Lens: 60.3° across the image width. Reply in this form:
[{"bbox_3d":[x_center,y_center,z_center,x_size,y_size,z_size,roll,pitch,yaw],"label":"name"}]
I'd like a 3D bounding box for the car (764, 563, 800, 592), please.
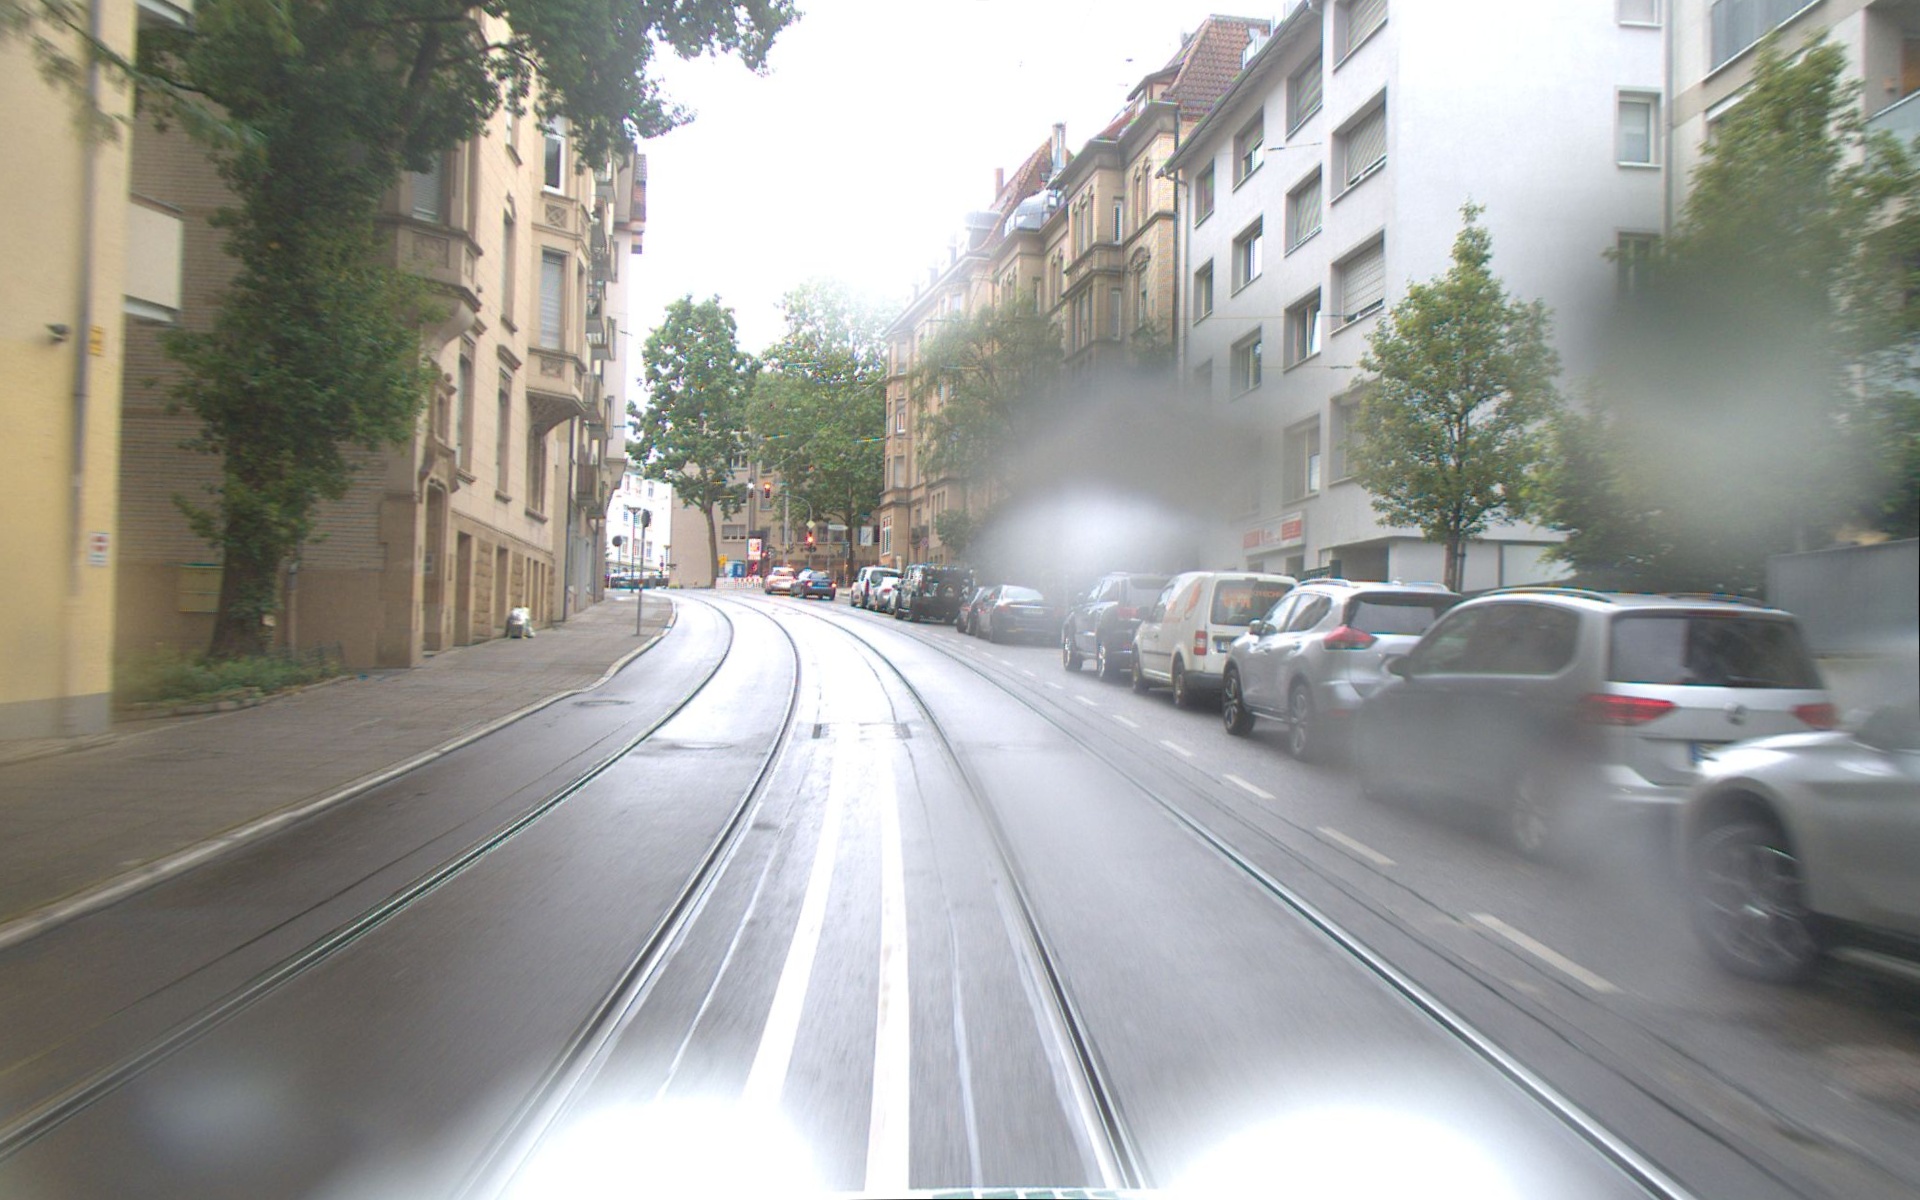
[{"bbox_3d":[-9.900,-1.275,91.866,1.679,1.481,3.545,2,1,-10],"label":"car"}]

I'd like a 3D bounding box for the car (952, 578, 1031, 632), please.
[{"bbox_3d":[0.844,0.109,46.576,1.646,1.361,3.877,3,1,-7],"label":"car"}]

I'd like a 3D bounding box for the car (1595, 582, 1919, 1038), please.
[{"bbox_3d":[4.414,0.789,5.937,1.938,1.612,4.557,2,1,-9],"label":"car"}]

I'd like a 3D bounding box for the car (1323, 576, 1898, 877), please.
[{"bbox_3d":[4.219,0.695,11.700,1.797,1.656,4.658,2,1,-6],"label":"car"}]

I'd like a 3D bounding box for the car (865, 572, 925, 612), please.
[{"bbox_3d":[-2.675,-0.356,67.285,1.717,1.424,4.467,4,1,-11],"label":"car"}]

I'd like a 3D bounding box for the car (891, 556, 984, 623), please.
[{"bbox_3d":[-0.831,-0.417,56.473,2.091,2.048,5.335,4,1,-12],"label":"car"}]

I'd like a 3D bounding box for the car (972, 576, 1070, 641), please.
[{"bbox_3d":[1.484,0.173,42.030,1.760,1.462,4.604,3,1,-7],"label":"car"}]

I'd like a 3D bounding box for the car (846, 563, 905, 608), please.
[{"bbox_3d":[-3.735,-0.673,72.443,1.766,1.795,4.449,4,1,-12],"label":"car"}]

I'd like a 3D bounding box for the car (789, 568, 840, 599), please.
[{"bbox_3d":[-7.626,-0.888,86.173,1.684,1.440,4.015,2,1,-19],"label":"car"}]

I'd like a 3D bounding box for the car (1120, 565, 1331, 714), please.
[{"bbox_3d":[3.631,0.484,23.448,1.744,1.826,4.465,3,0,-7],"label":"car"}]

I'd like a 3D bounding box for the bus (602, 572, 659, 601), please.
[{"bbox_3d":[-34.638,-1.512,174.174,2.793,2.911,8.742,1,1,11],"label":"bus"}]

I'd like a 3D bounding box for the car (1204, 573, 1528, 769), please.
[{"bbox_3d":[3.995,0.618,17.175,1.796,1.685,4.682,3,0,-5],"label":"car"}]

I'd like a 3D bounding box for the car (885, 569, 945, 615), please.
[{"bbox_3d":[-1.719,-0.312,62.396,1.533,1.572,3.573,4,1,-13],"label":"car"}]

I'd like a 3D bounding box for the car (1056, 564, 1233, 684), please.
[{"bbox_3d":[3.087,0.362,28.794,1.906,1.826,4.813,3,0,-7],"label":"car"}]
